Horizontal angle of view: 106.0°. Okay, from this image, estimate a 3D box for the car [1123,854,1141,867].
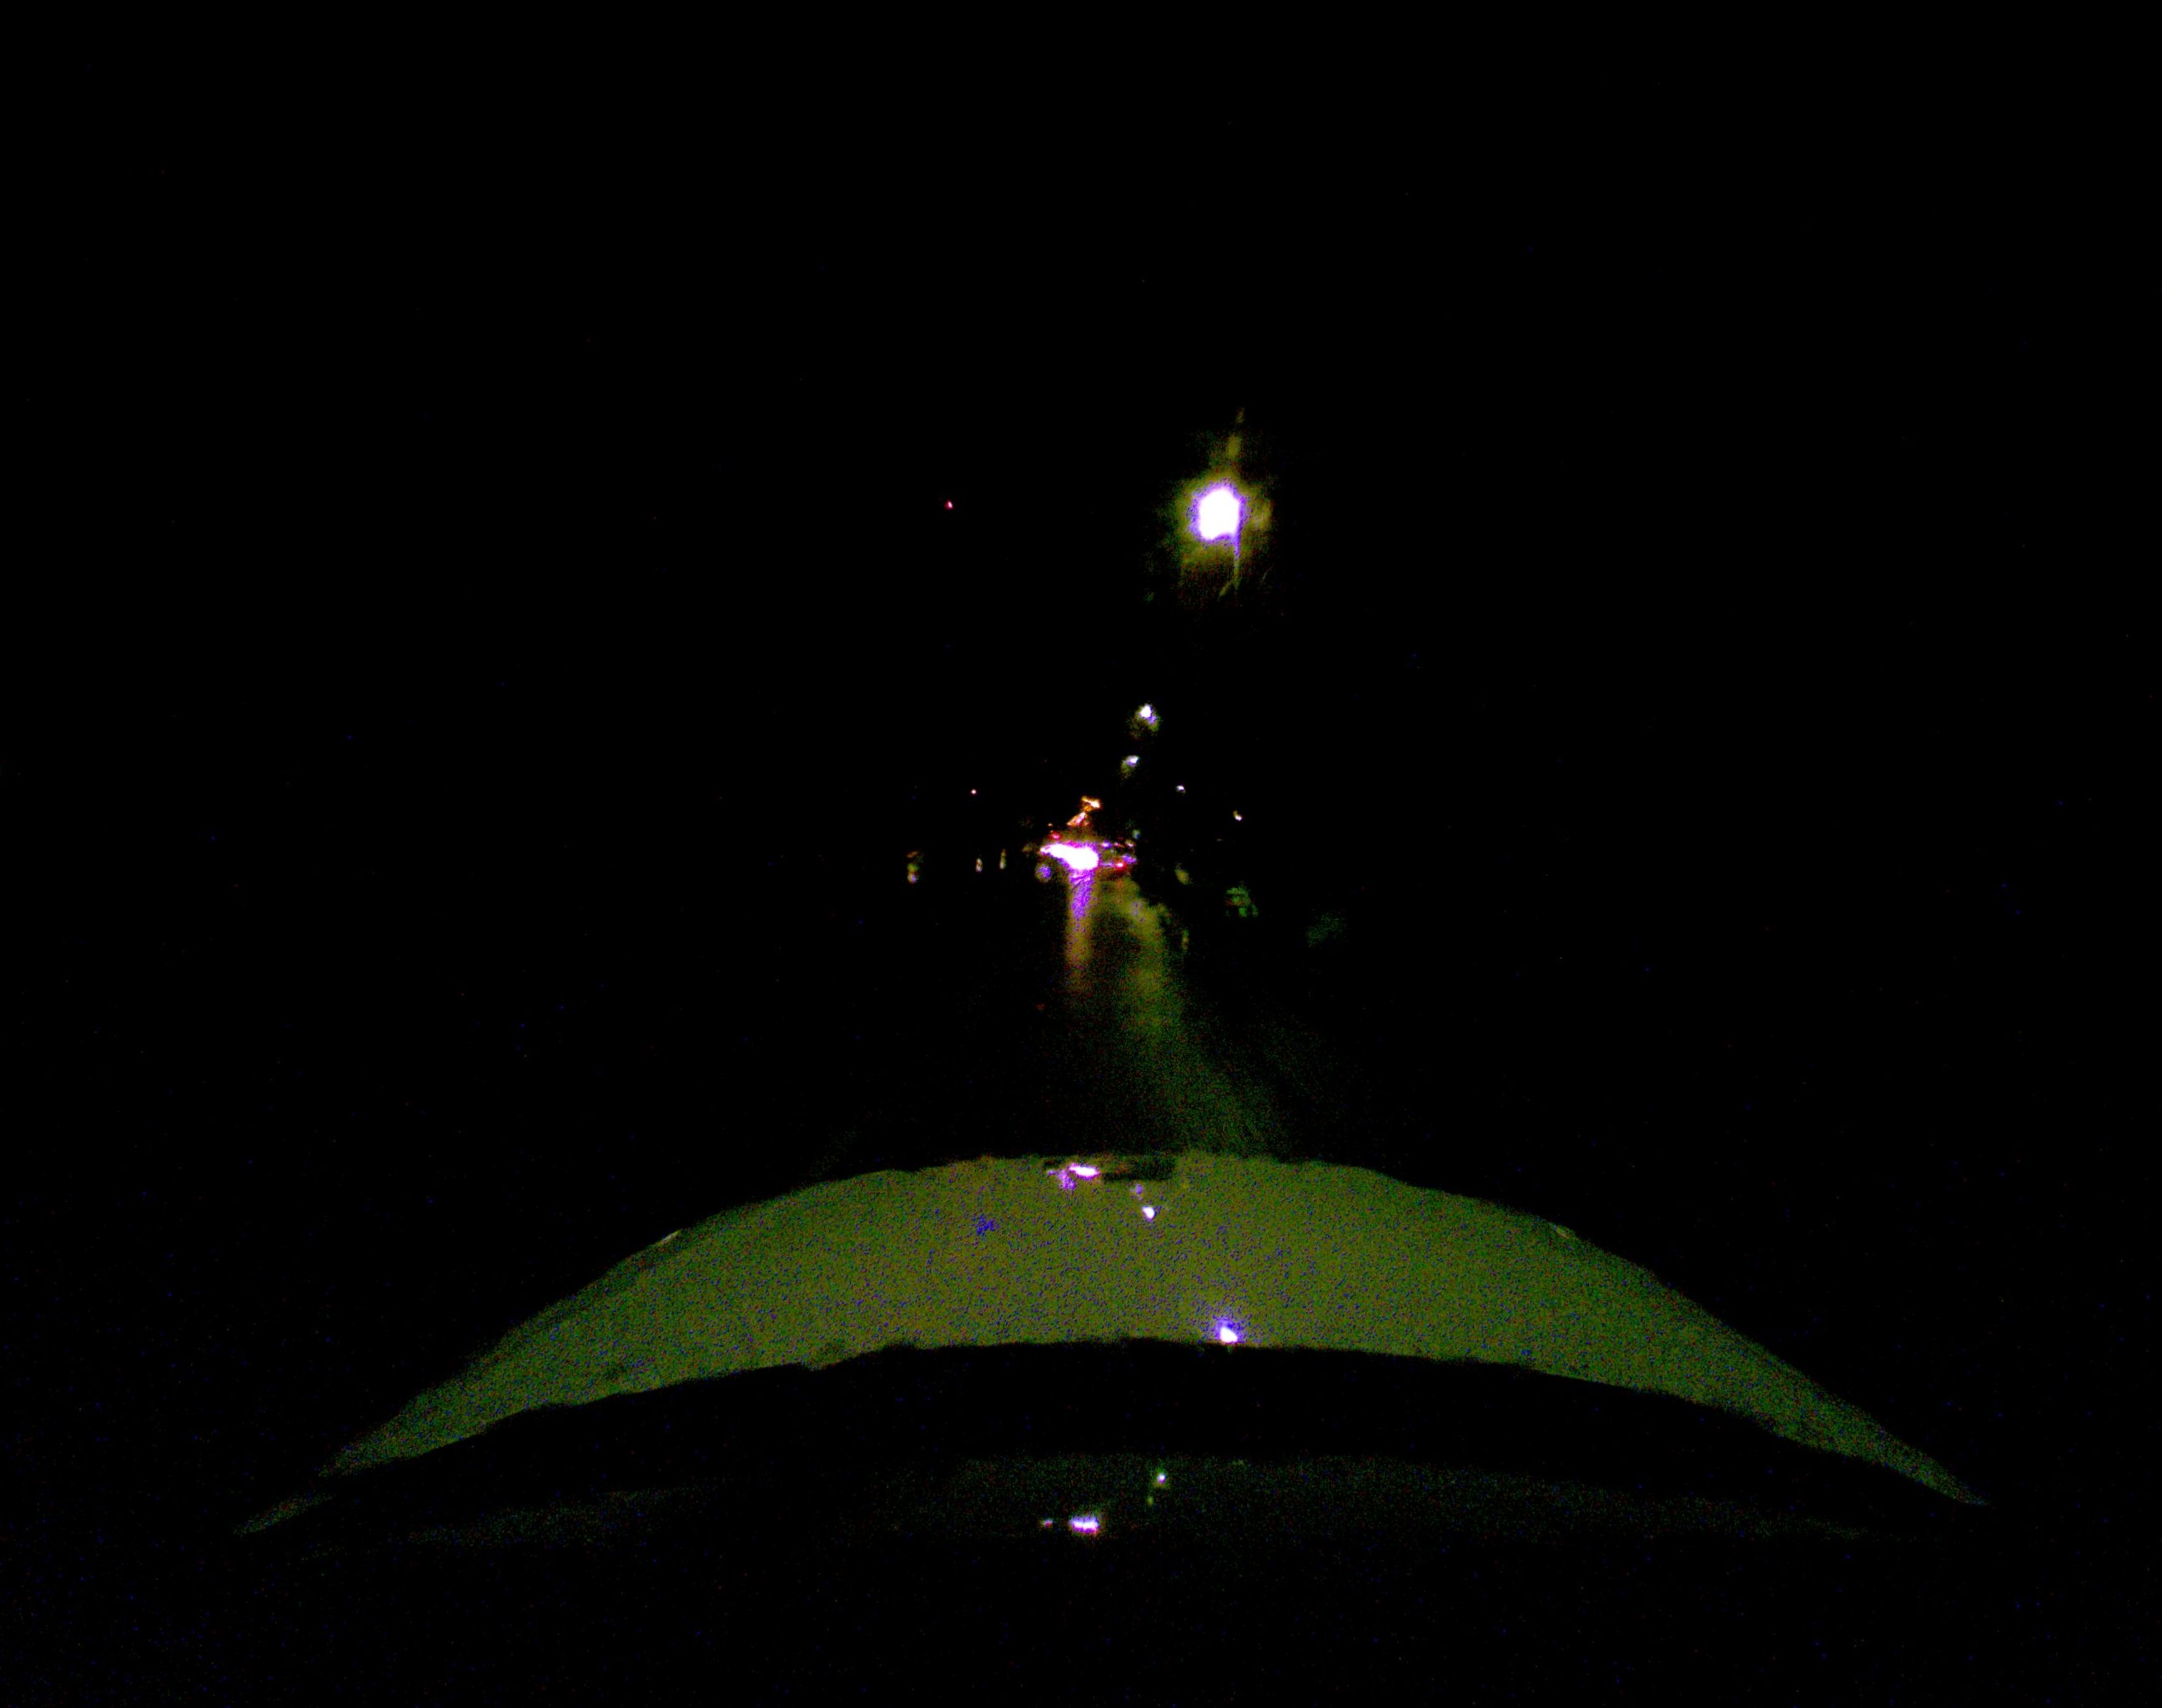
[{"bbox_3d":[6.177,0.819,99.056,1.708,1.488,4.434,-2,0,-1],"label":"car"}]

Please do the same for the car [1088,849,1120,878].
[{"bbox_3d":[1.473,0.562,52.962,1.987,1.683,4.001,-1,1,1],"label":"car"}]

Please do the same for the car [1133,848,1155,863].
[{"bbox_3d":[6.800,0.091,88.119,1.785,1.449,4.788,-3,1,-2],"label":"car"}]

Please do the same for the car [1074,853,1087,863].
[{"bbox_3d":[-0.059,0.599,123.697,1.738,1.433,4.003,-3,0,2],"label":"car"}]
